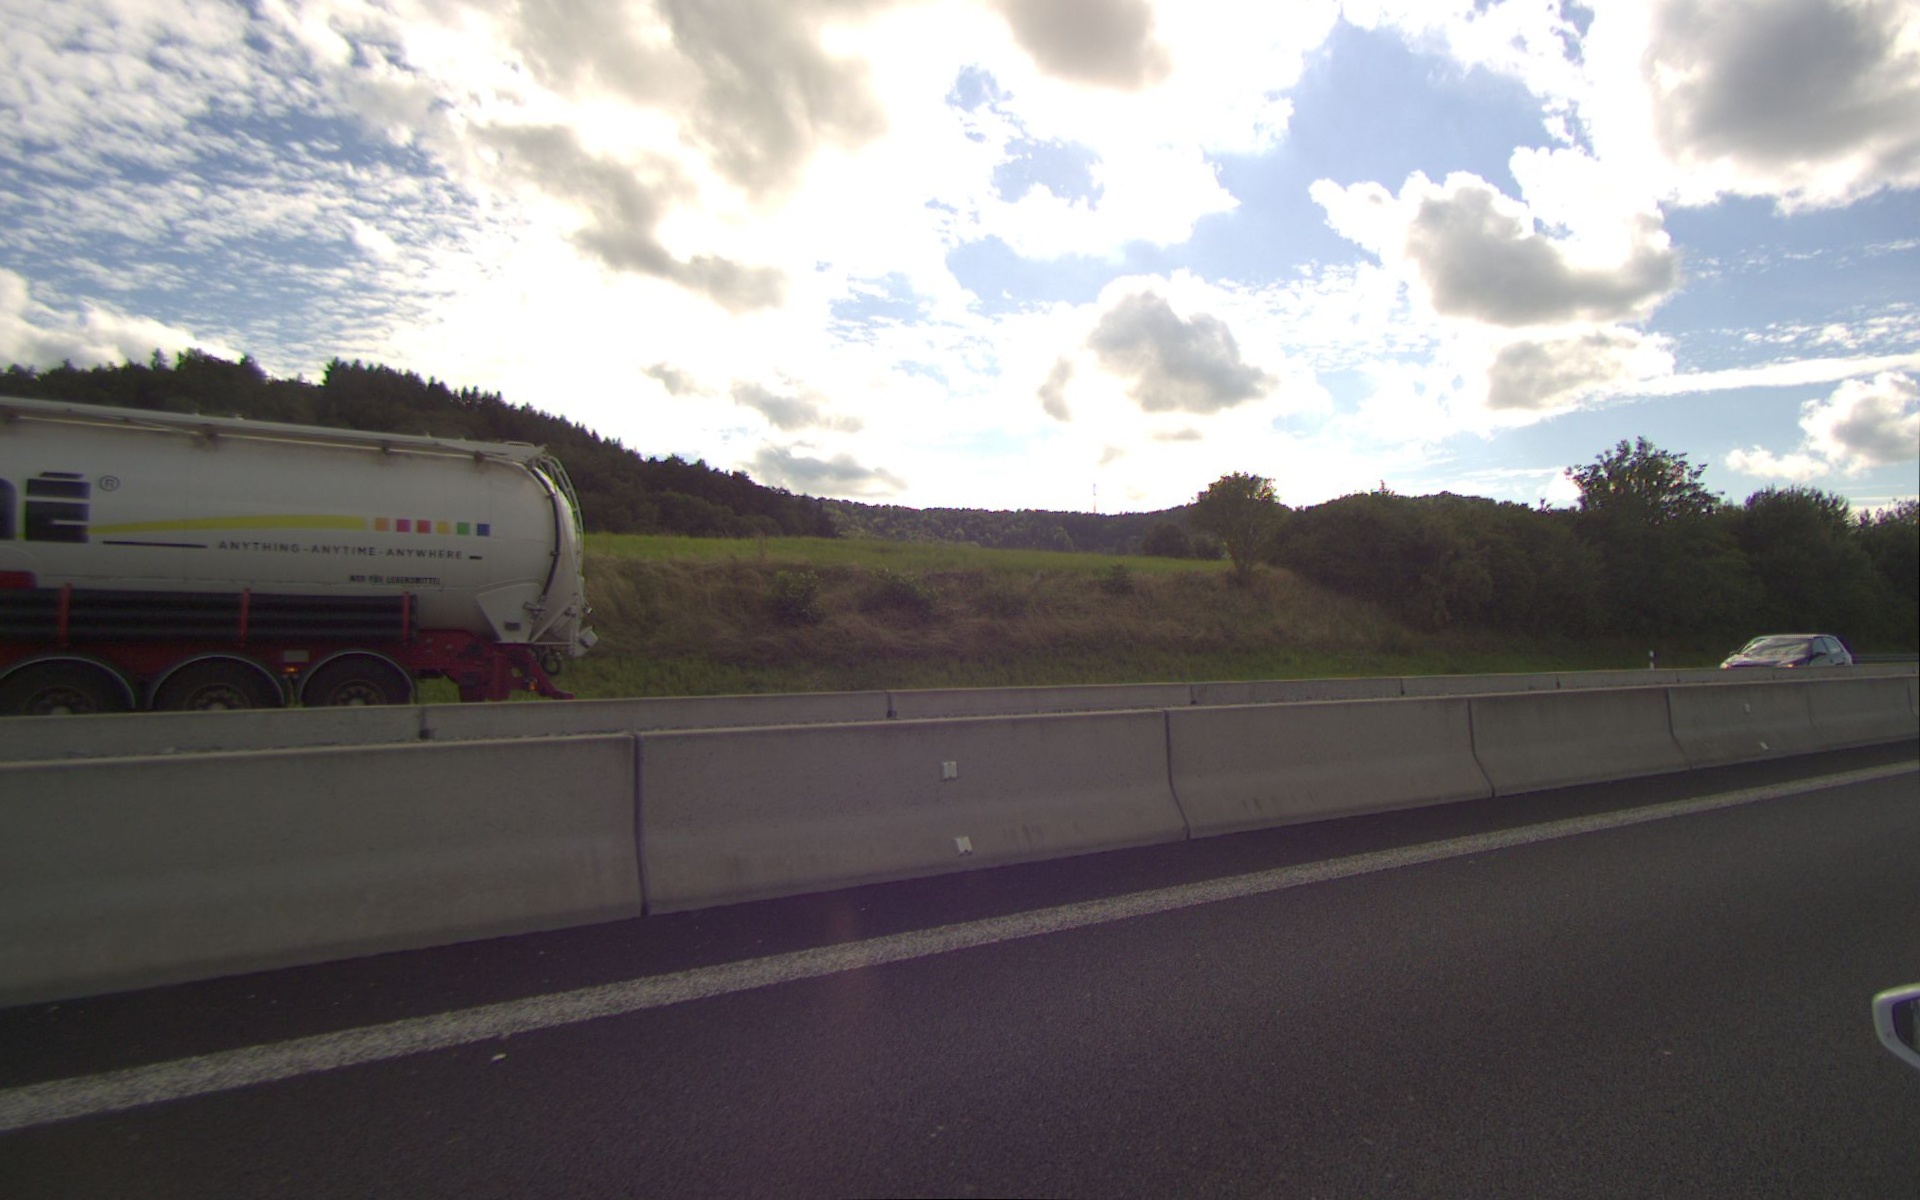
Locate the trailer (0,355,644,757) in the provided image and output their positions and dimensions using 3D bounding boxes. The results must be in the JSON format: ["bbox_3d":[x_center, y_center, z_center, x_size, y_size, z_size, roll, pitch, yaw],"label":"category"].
[{"bbox_3d":[-9.522,-0.377,11.336,11.030,3.938,2.701,2,-2,-30],"label":"trailer"}]

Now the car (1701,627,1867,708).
[{"bbox_3d":[20.552,1.640,25.032,4.345,1.856,1.799,2,-3,-30],"label":"car"}]
